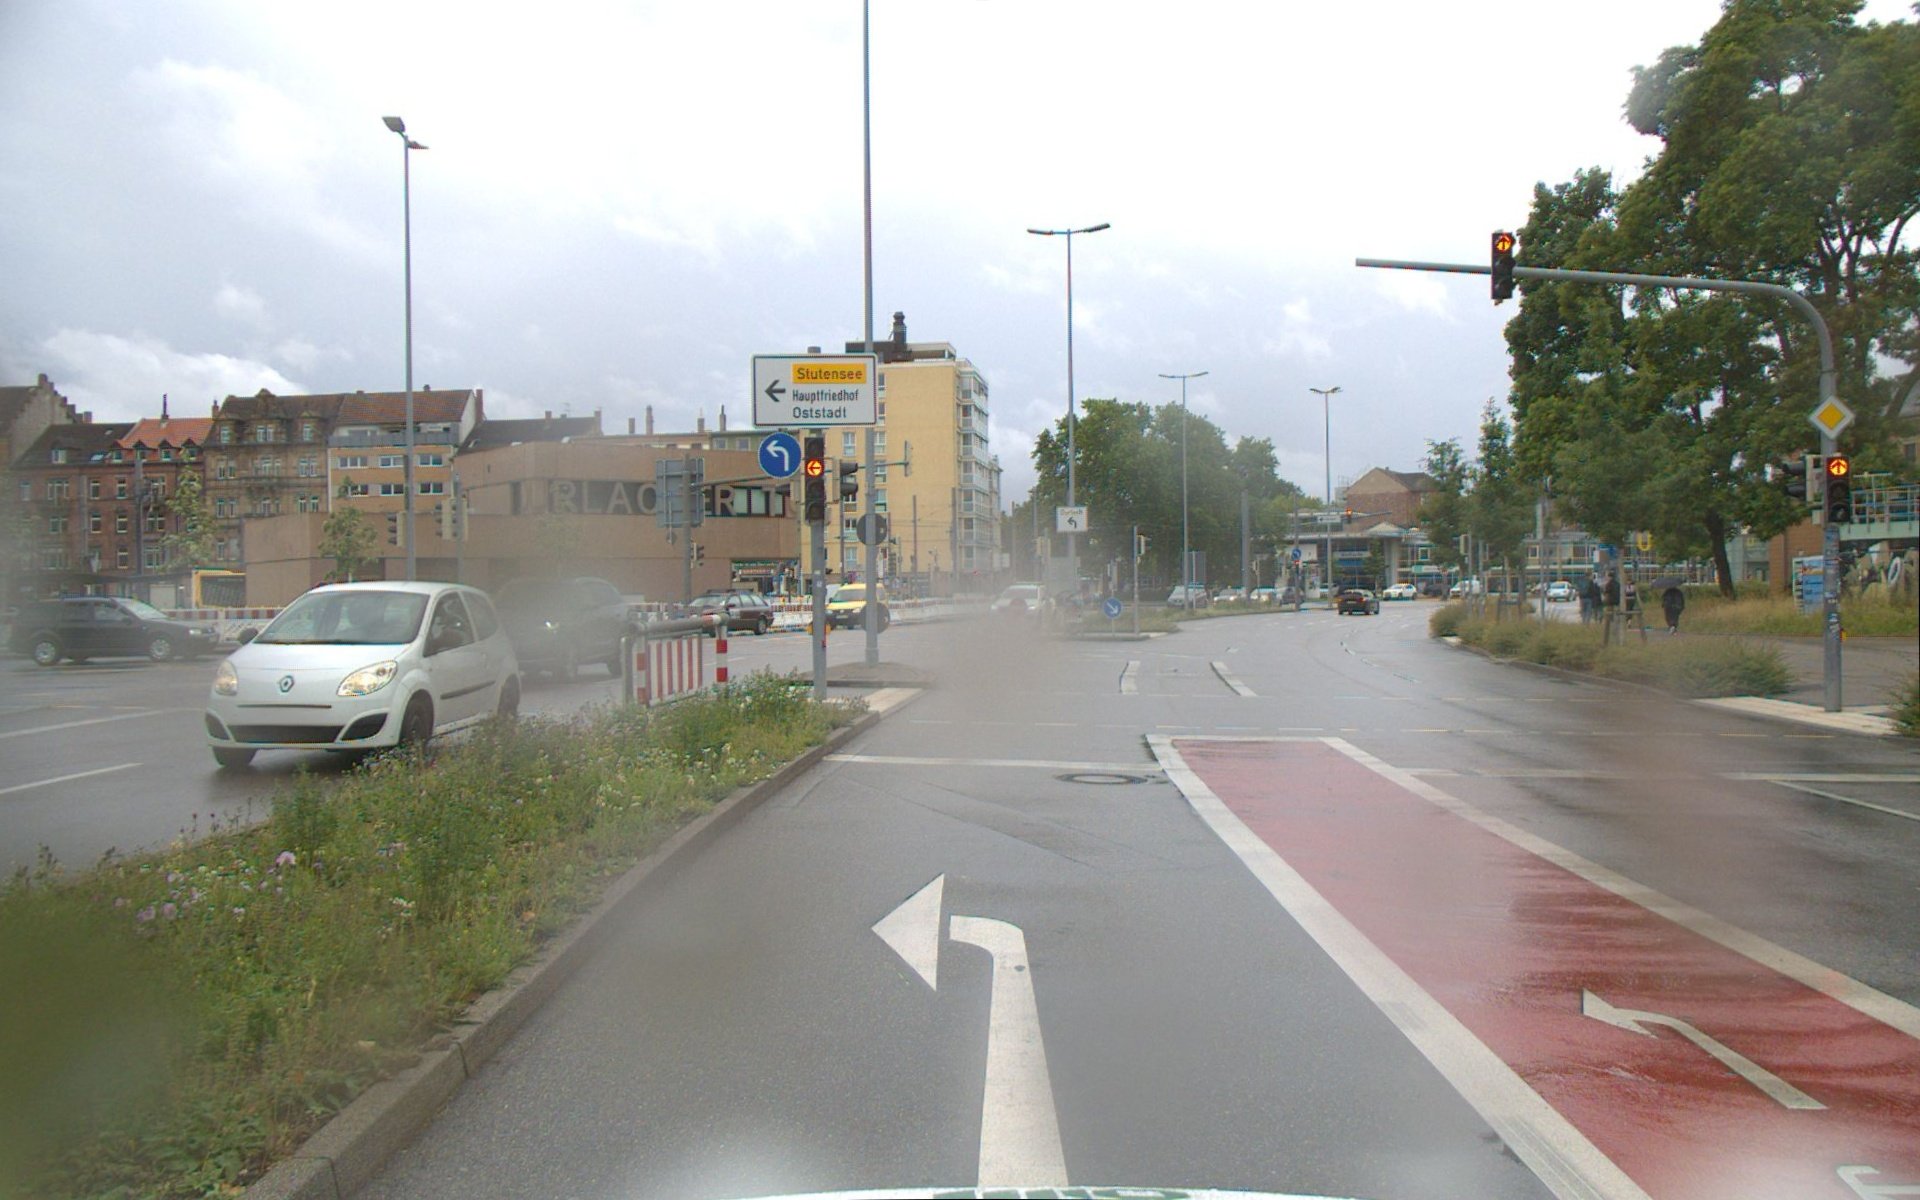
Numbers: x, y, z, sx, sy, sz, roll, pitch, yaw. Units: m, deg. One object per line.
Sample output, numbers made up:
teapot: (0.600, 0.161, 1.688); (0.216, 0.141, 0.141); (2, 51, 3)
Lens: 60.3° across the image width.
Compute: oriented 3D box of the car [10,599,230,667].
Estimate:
car: (-19.001, 0.723, 37.534); (4.109, 1.427, 1.617); (-1, 0, -4)

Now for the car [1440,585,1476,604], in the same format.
car: (49.438, -0.538, 164.172); (1.765, 1.890, 4.131); (0, 1, 44)

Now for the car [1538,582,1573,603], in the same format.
car: (47.761, -0.598, 132.508); (1.758, 1.672, 4.148); (-1, 1, 33)

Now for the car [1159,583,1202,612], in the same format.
car: (14.819, -0.208, 110.911); (1.660, 1.720, 4.182); (-1, 2, 25)

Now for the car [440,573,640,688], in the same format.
car: (-6.838, 0.447, 27.474); (1.952, 1.664, 4.604); (-3, 0, 2)

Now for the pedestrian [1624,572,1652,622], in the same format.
pedestrian: (21.996, -0.101, 53.671); (0.688, 1.615, 0.937); (-1, 0, 13)

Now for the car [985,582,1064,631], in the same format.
car: (2.563, 0.229, 64.641); (1.787, 1.711, 5.169); (-3, 0, 17)

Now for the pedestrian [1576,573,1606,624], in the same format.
pedestrian: (20.191, -0.056, 52.948); (0.737, 1.615, 0.937); (-1, 0, 13)

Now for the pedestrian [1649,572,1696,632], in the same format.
pedestrian: (19.404, 0.050, 45.089); (1.000, 1.615, 0.937); (-1, 0, 13)

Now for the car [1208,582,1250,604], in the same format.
car: (19.714, -0.528, 121.064); (1.738, 1.400, 4.115); (-3, 1, 29)

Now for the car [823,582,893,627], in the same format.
car: (-4.076, 0.138, 66.607); (1.669, 1.735, 4.156); (-1, 0, 13)

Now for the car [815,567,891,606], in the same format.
car: (-9.816, -1.249, 151.935); (6.599, 3.439, 2.811); (-1, 0, 5)

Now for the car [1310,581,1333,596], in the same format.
car: (42.599, -1.331, 194.747); (1.755, 1.672, 4.156); (-1, 0, 26)

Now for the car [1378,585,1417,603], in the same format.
car: (43.025, -0.593, 162.685); (1.765, 1.672, 4.366); (0, 1, 44)

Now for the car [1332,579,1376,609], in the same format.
car: (22.929, -0.347, 96.100); (1.754, 1.672, 4.158); (-1, 0, 24)

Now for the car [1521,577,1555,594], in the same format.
car: (60.103, -1.488, 171.964); (4.015, 1.672, 1.767); (-1, 1, -44)

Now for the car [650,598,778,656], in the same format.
car: (-7.897, 0.832, 53.480); (1.674, 1.735, 4.451); (-1, 1, 31)

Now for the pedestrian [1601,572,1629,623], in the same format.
pedestrian: (21.228, -0.086, 53.608); (0.688, 1.615, 0.937); (-1, 0, 13)

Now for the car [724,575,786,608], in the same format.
car: (-18.955, -0.800, 152.969); (5.237, 2.937, 2.340); (-1, 0, 5)

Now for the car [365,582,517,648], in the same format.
car: (-14.534, 0.395, 46.356); (3.769, 1.735, 1.693); (-1, 0, -31)

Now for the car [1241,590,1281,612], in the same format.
car: (20.963, 0.047, 115.144); (1.661, 1.440, 4.179); (-1, 1, 26)

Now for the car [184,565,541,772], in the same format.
car: (-5.040, 0.502, 14.522); (1.644, 1.527, 3.869); (-2, 0, 1)
